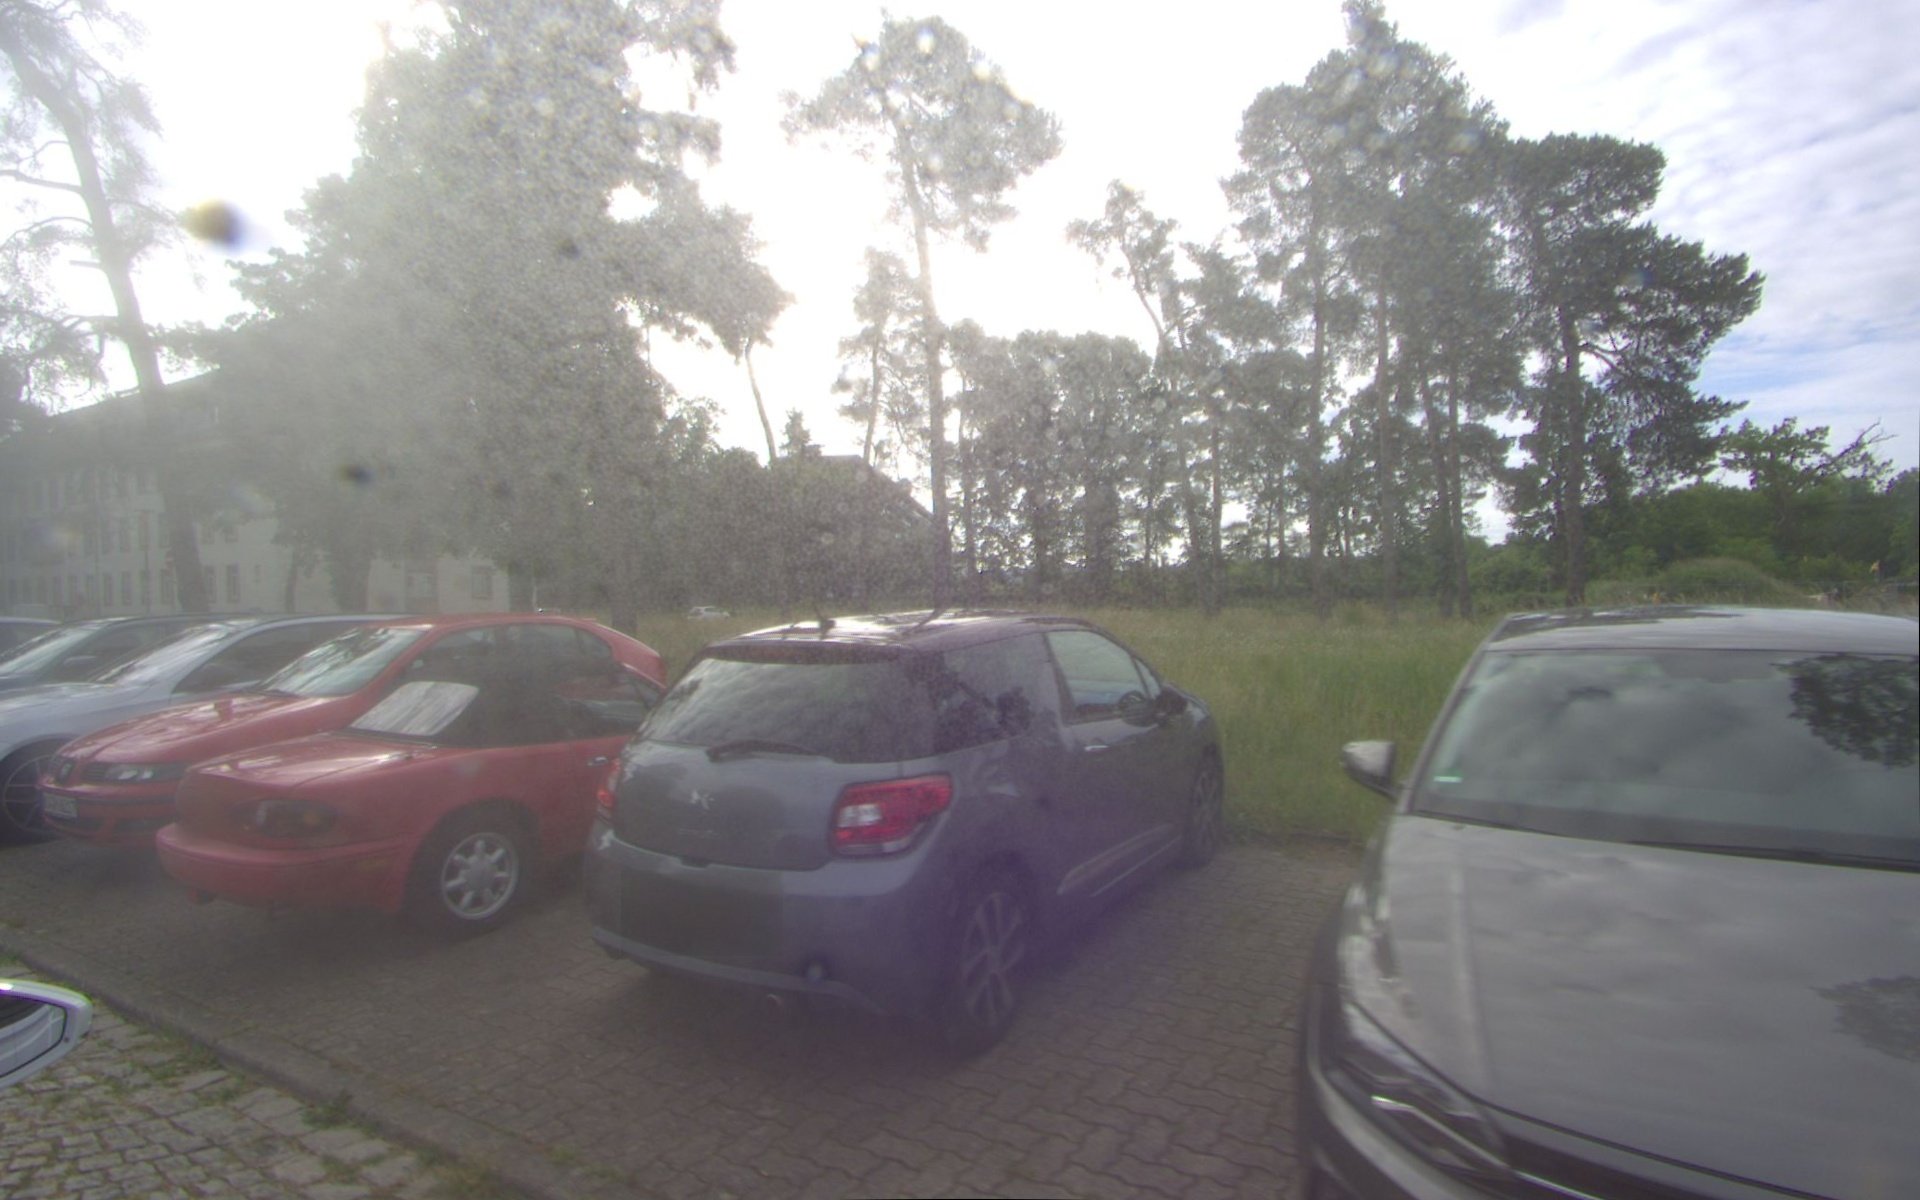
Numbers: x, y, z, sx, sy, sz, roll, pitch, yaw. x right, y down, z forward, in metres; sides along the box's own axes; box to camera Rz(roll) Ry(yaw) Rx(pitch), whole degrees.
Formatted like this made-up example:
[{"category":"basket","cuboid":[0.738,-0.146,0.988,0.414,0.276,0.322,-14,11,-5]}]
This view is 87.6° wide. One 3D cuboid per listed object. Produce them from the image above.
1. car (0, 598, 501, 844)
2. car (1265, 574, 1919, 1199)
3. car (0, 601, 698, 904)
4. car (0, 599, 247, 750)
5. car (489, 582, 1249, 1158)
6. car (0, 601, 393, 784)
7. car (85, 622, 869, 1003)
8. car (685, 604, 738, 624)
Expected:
[{"category":"car","cuboid":[-6.303,0.785,8.352,1.839,1.436,4.423,-1,2,22]},{"category":"car","cuboid":[2.206,0.716,2.803,1.732,1.492,3.854,0,2,30]},{"category":"car","cuboid":[-4.202,0.809,7.517,1.843,1.436,4.253,0,2,30]},{"category":"car","cuboid":[-10.546,0.814,11.123,1.619,1.497,3.917,0,2,32]},{"category":"car","cuboid":[0.046,0.714,4.807,1.731,1.492,3.855,0,2,29]},{"category":"car","cuboid":[-8.460,0.815,9.907,1.842,1.436,4.674,0,2,28]},{"category":"car","cuboid":[-2.362,0.860,5.923,1.731,1.253,3.855,0,2,29]},{"category":"car","cuboid":[-19.401,1.083,78.357,1.627,1.439,3.941,-1,-3,33]}]
